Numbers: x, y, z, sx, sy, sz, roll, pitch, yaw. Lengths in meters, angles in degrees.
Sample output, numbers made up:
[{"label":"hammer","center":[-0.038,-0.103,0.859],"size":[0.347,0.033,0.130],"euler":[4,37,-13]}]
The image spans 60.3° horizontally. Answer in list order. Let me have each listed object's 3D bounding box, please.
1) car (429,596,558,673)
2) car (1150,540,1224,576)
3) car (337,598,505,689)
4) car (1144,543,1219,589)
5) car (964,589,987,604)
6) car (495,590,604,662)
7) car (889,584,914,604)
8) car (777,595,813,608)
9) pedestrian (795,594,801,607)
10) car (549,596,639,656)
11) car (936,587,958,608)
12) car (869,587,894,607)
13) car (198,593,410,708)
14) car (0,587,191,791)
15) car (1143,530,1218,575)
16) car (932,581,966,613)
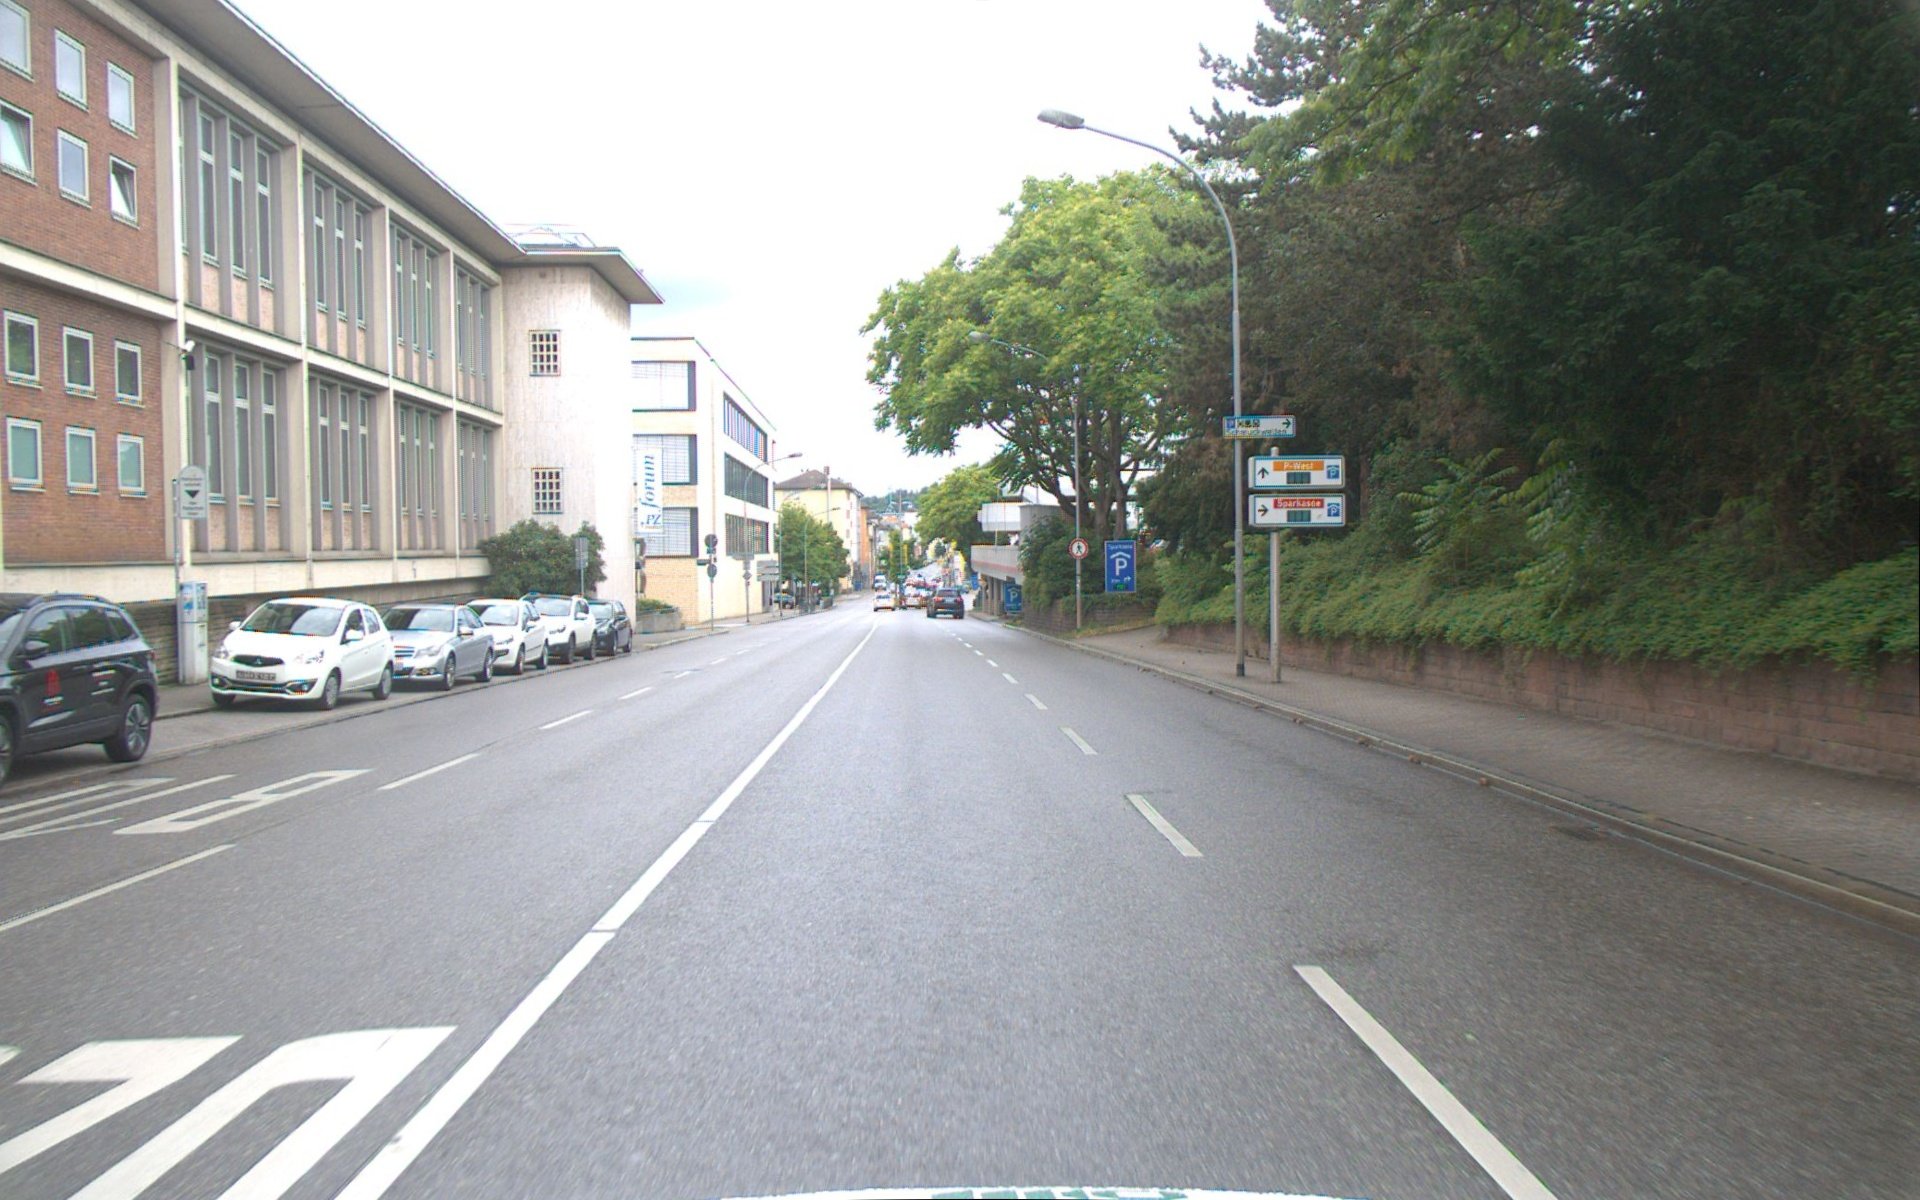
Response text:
[{"label":"car","center":[-9.767,0.679,34.943],"size":[1.713,1.479,4.179],"euler":[1,0,-3]},{"label":"car","center":[11.144,-2.061,81.339],"size":[3.546,1.735,1.642],"euler":[0,0,6]},{"label":"car","center":[-9.488,0.721,29.487],"size":[1.713,1.460,4.483],"euler":[1,0,-3]},{"label":"car","center":[10.152,-1.558,76.098],"size":[3.377,2.049,1.655],"euler":[0,0,6]},{"label":"car","center":[1.821,-0.366,192.268],"size":[1.951,1.709,4.004],"euler":[0,0,11]},{"label":"car","center":[-9.928,0.596,40.254],"size":[1.713,1.625,4.179],"euler":[1,0,-2]},{"label":"car","center":[-5.346,-0.552,150.374],"size":[1.955,1.709,3.994],"euler":[0,0,-7]},{"label":"car","center":[-17.020,0.132,170.666],"size":[3.585,1.256,1.439],"euler":[1,0,-8]},{"label":"pedestrian","center":[-16.126,0.012,164.681],"size":[0.444,1.301,0.454],"euler":[0,0,9]},{"label":"car","center":[-9.995,0.673,45.438],"size":[1.713,1.505,4.179],"euler":[1,0,-3]},{"label":"car","center":[-1.284,-0.238,163.671],"size":[2.129,2.039,3.999],"euler":[0,0,-1]},{"label":"car","center":[-6.766,-0.299,142.346],"size":[1.955,1.709,3.994],"euler":[0,0,-7]},{"label":"car","center":[-9.518,0.677,24.318],"size":[1.645,1.549,3.919],"euler":[0,0,-2]},{"label":"car","center":[-8.862,0.720,14.995],"size":[1.804,1.682,4.513],"euler":[1,0,-3]},{"label":"car","center":[10.487,-2.253,78.779],"size":[3.508,2.049,1.597],"euler":[0,0,6]},{"label":"car","center":[-0.702,-0.207,101.594],"size":[2.049,1.944,4.099],"euler":[0,0,-1]}]
